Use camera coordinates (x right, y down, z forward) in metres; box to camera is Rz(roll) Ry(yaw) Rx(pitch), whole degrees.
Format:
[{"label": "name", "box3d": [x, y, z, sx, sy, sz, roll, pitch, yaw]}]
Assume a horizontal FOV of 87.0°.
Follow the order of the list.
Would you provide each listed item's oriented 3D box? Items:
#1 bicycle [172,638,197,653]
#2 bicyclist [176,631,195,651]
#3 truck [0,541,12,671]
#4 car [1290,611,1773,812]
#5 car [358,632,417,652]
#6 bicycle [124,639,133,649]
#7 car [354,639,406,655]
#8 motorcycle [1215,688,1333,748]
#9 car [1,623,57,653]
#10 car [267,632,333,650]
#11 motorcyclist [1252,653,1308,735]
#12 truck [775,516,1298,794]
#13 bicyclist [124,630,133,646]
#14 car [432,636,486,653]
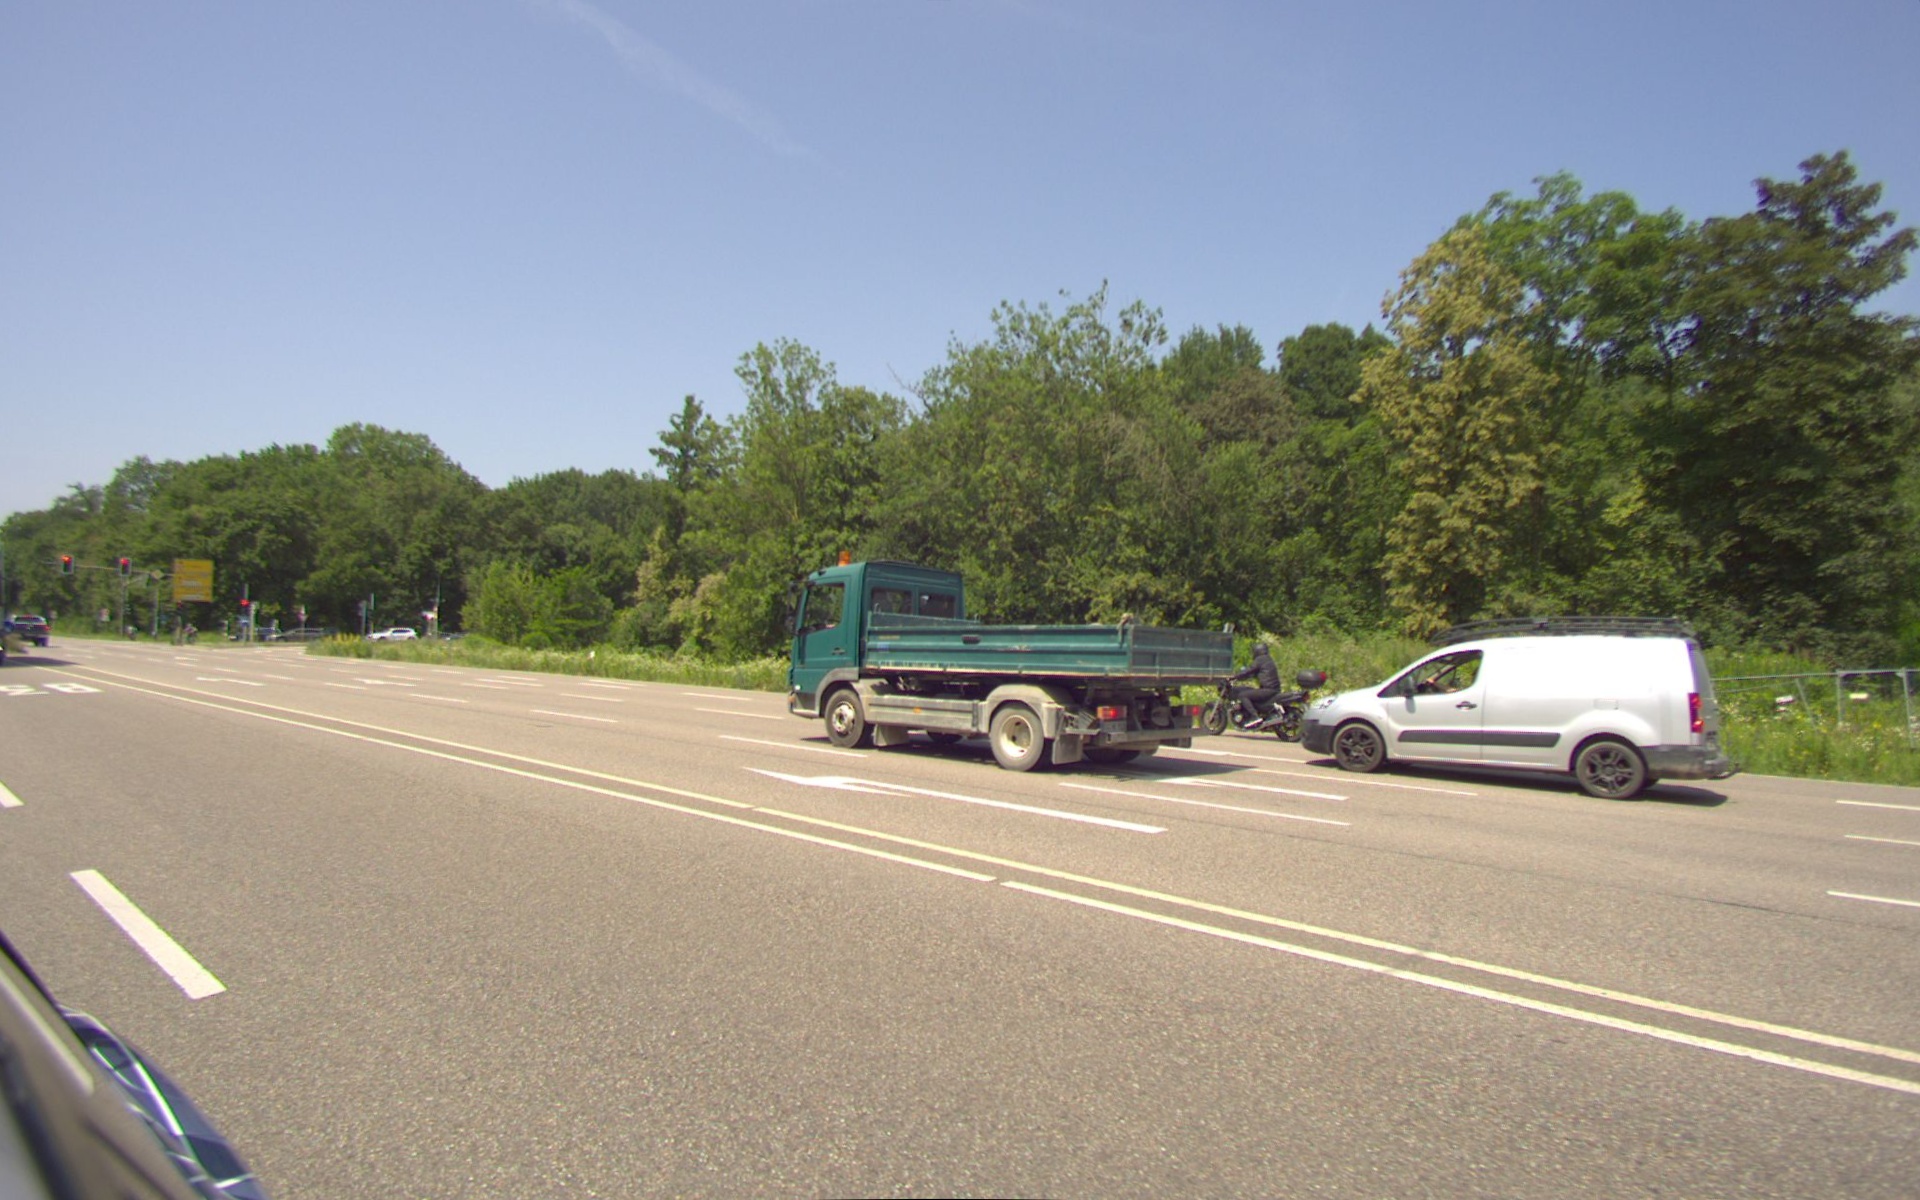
[{"label": "bicycle", "box3d": [-58.495, 3.425, 76.327, 0.712, 1.071, 1.873, 1, -3, -11]}, {"label": "bicyclist", "box3d": [-58.472, 3.113, 76.409, 0.911, 1.471, 0.718, 1, -3, -10]}, {"label": "truck", "box3d": [-34.009, 0.270, 33.447, 11.314, 3.914, 2.718, -1, -2, 41]}, {"label": "car", "box3d": [6.783, 1.223, 12.410, 4.821, 1.981, 1.972, -2, -5, 43]}, {"label": "car", "box3d": [-58.579, 4.337, 103.625, 2.066, 1.910, 4.752, -2, -4, 42]}, {"label": "bicycle", "box3d": [-80.387, 4.231, 97.830, 0.558, 0.930, 1.608, 3, -3, -38]}, {"label": "car", "box3d": [-60.733, 4.922, 105.973, 1.871, 1.648, 4.353, -1, -4, 40]}, {"label": "motorcycle", "box3d": [5.422, 2.024, 17.560, 1.909, 0.900, 0.512, -1, -4, 40]}, {"label": "car", "box3d": [-56.402, 2.320, 61.263, 5.365, 1.691, 1.972, -2, -4, 43]}, {"label": "car", "box3d": [-61.448, 3.829, 94.284, 1.860, 1.530, 4.756, -1, -4, 40]}, {"label": "motorcyclist", "box3d": [5.528, 1.603, 17.493, 0.753, 1.364, 0.571, -1, -4, 40]}, {"label": "truck", "box3d": [0.664, 0.692, 12.867, 6.490, 2.677, 2.428, -2, -6, 42]}, {"label": "bicyclist", "box3d": [-80.410, 3.680, 97.881, 0.651, 1.476, 0.811, 3, -4, -39]}, {"label": "car", "box3d": [-53.849, 4.791, 108.839, 1.999, 1.770, 4.756, -1, -4, 40]}]
